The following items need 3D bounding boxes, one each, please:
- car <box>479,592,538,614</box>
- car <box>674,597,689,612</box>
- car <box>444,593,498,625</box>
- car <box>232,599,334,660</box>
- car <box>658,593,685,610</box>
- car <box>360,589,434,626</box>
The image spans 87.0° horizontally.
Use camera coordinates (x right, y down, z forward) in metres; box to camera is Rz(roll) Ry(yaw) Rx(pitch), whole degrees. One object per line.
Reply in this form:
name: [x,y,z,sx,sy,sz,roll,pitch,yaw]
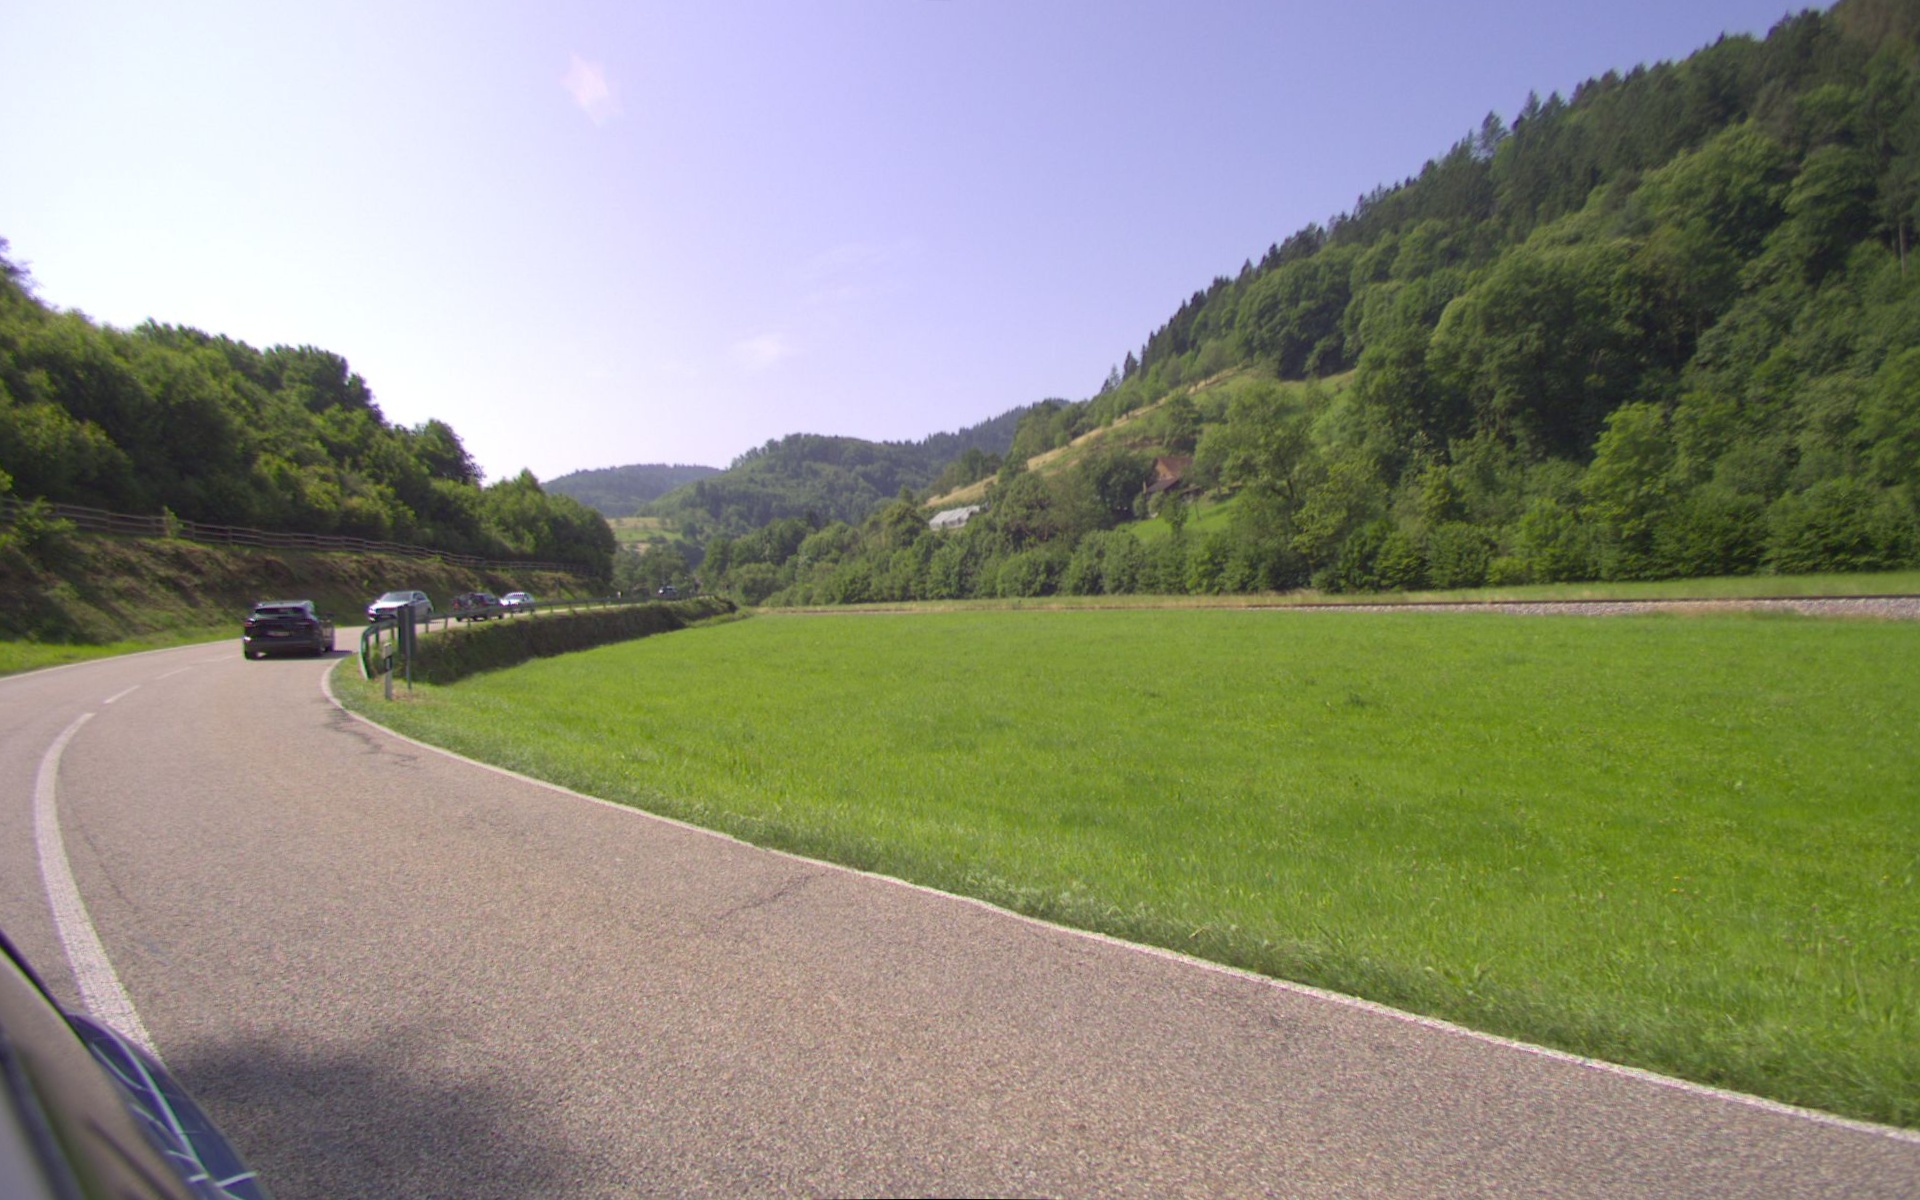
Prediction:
car: [-32.548,0.180,73.096,2.118,1.502,4.671,-1,0,1]
car: [-40.034,0.664,145.439,1.966,2.028,4.012,-2,2,-15]
car: [-28.020,0.486,58.144,1.923,1.753,4.910,0,0,-15]
car: [-19.692,0.785,29.626,1.849,1.599,4.610,-1,1,-26]
car: [-30.599,0.170,107.322,1.689,1.687,4.000,-3,0,0]
car: [-30.581,0.422,55.142,2.085,1.828,4.464,-2,0,-9]
